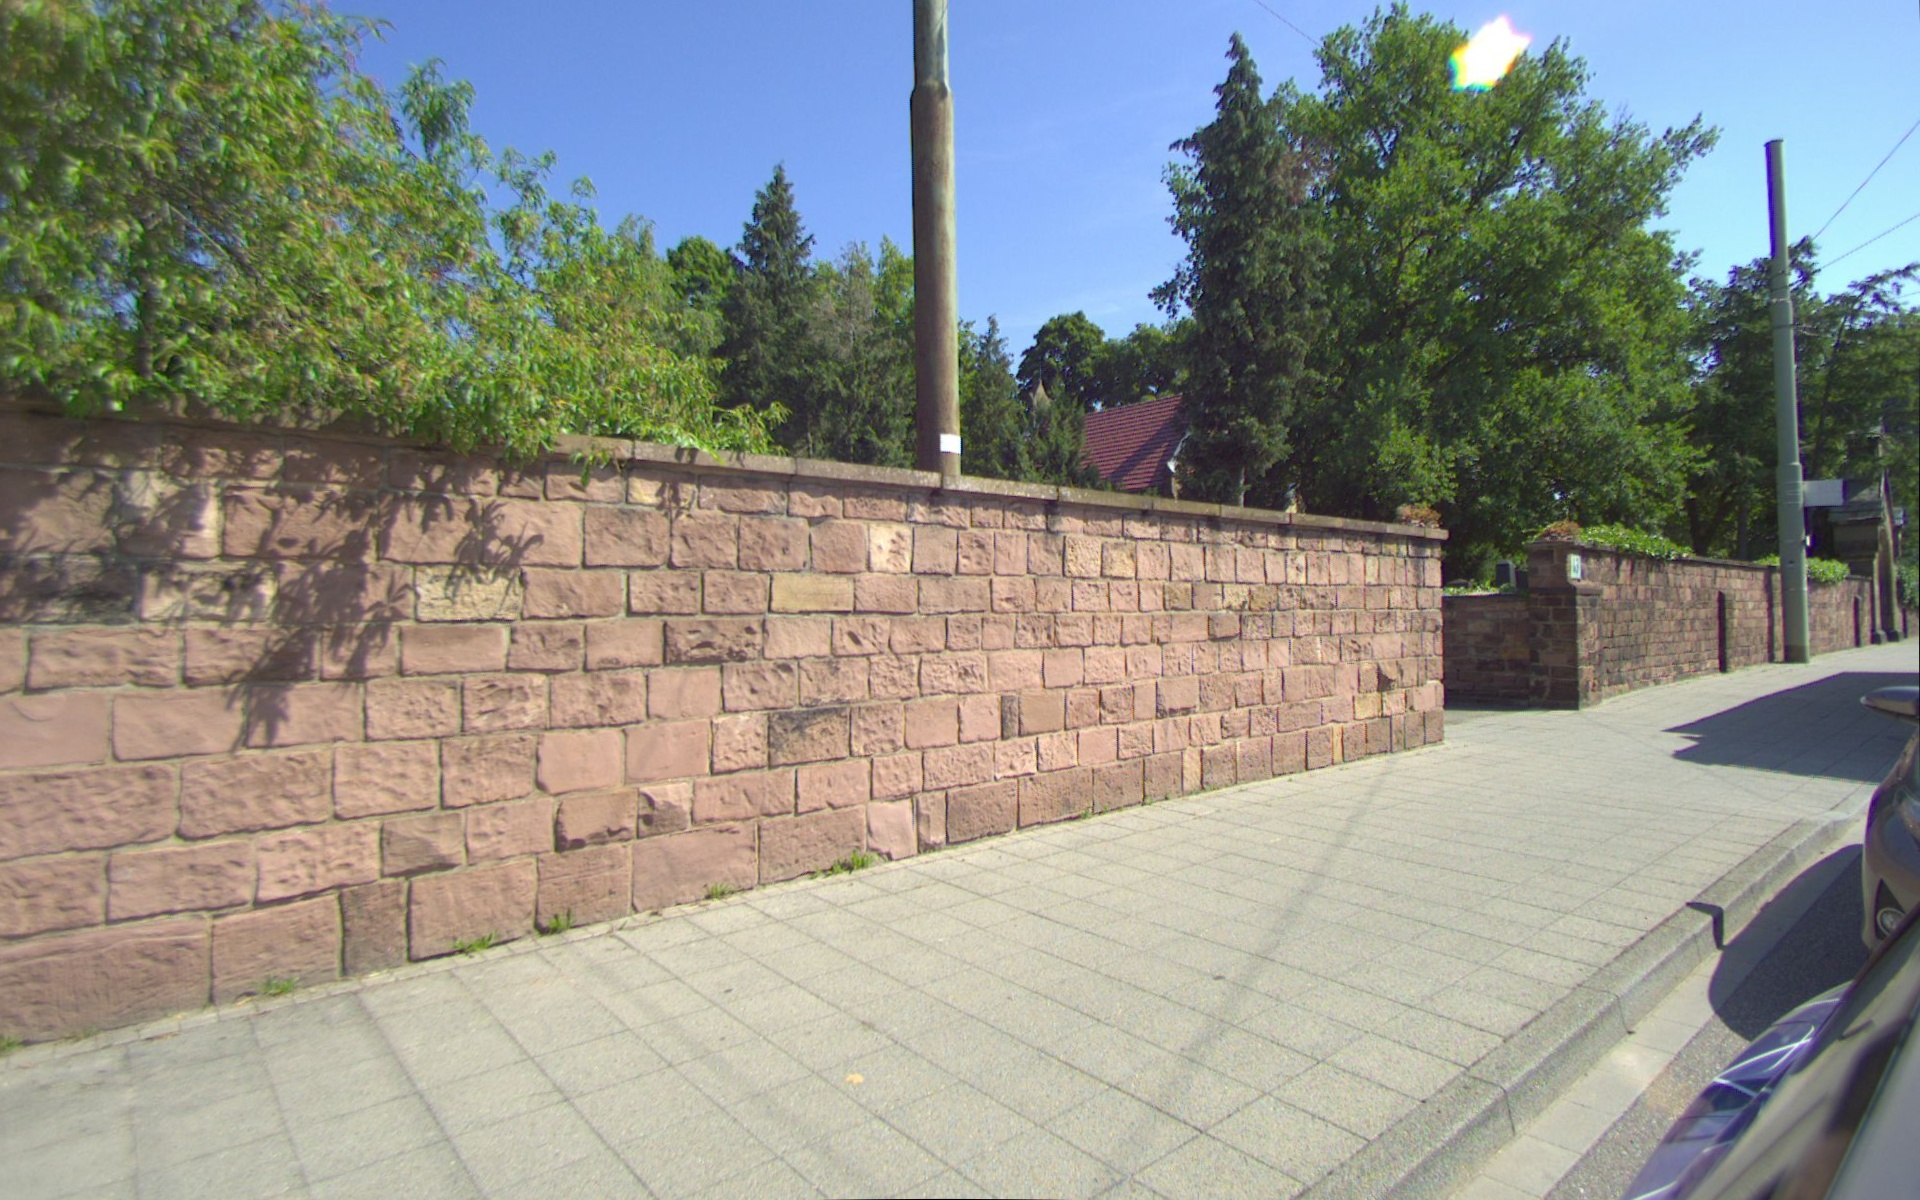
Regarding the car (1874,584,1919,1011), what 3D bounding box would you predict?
[{"bbox_3d":[5.089,0.646,4.073,3.930,1.400,1.653,0,1,-41],"label":"car"}]
